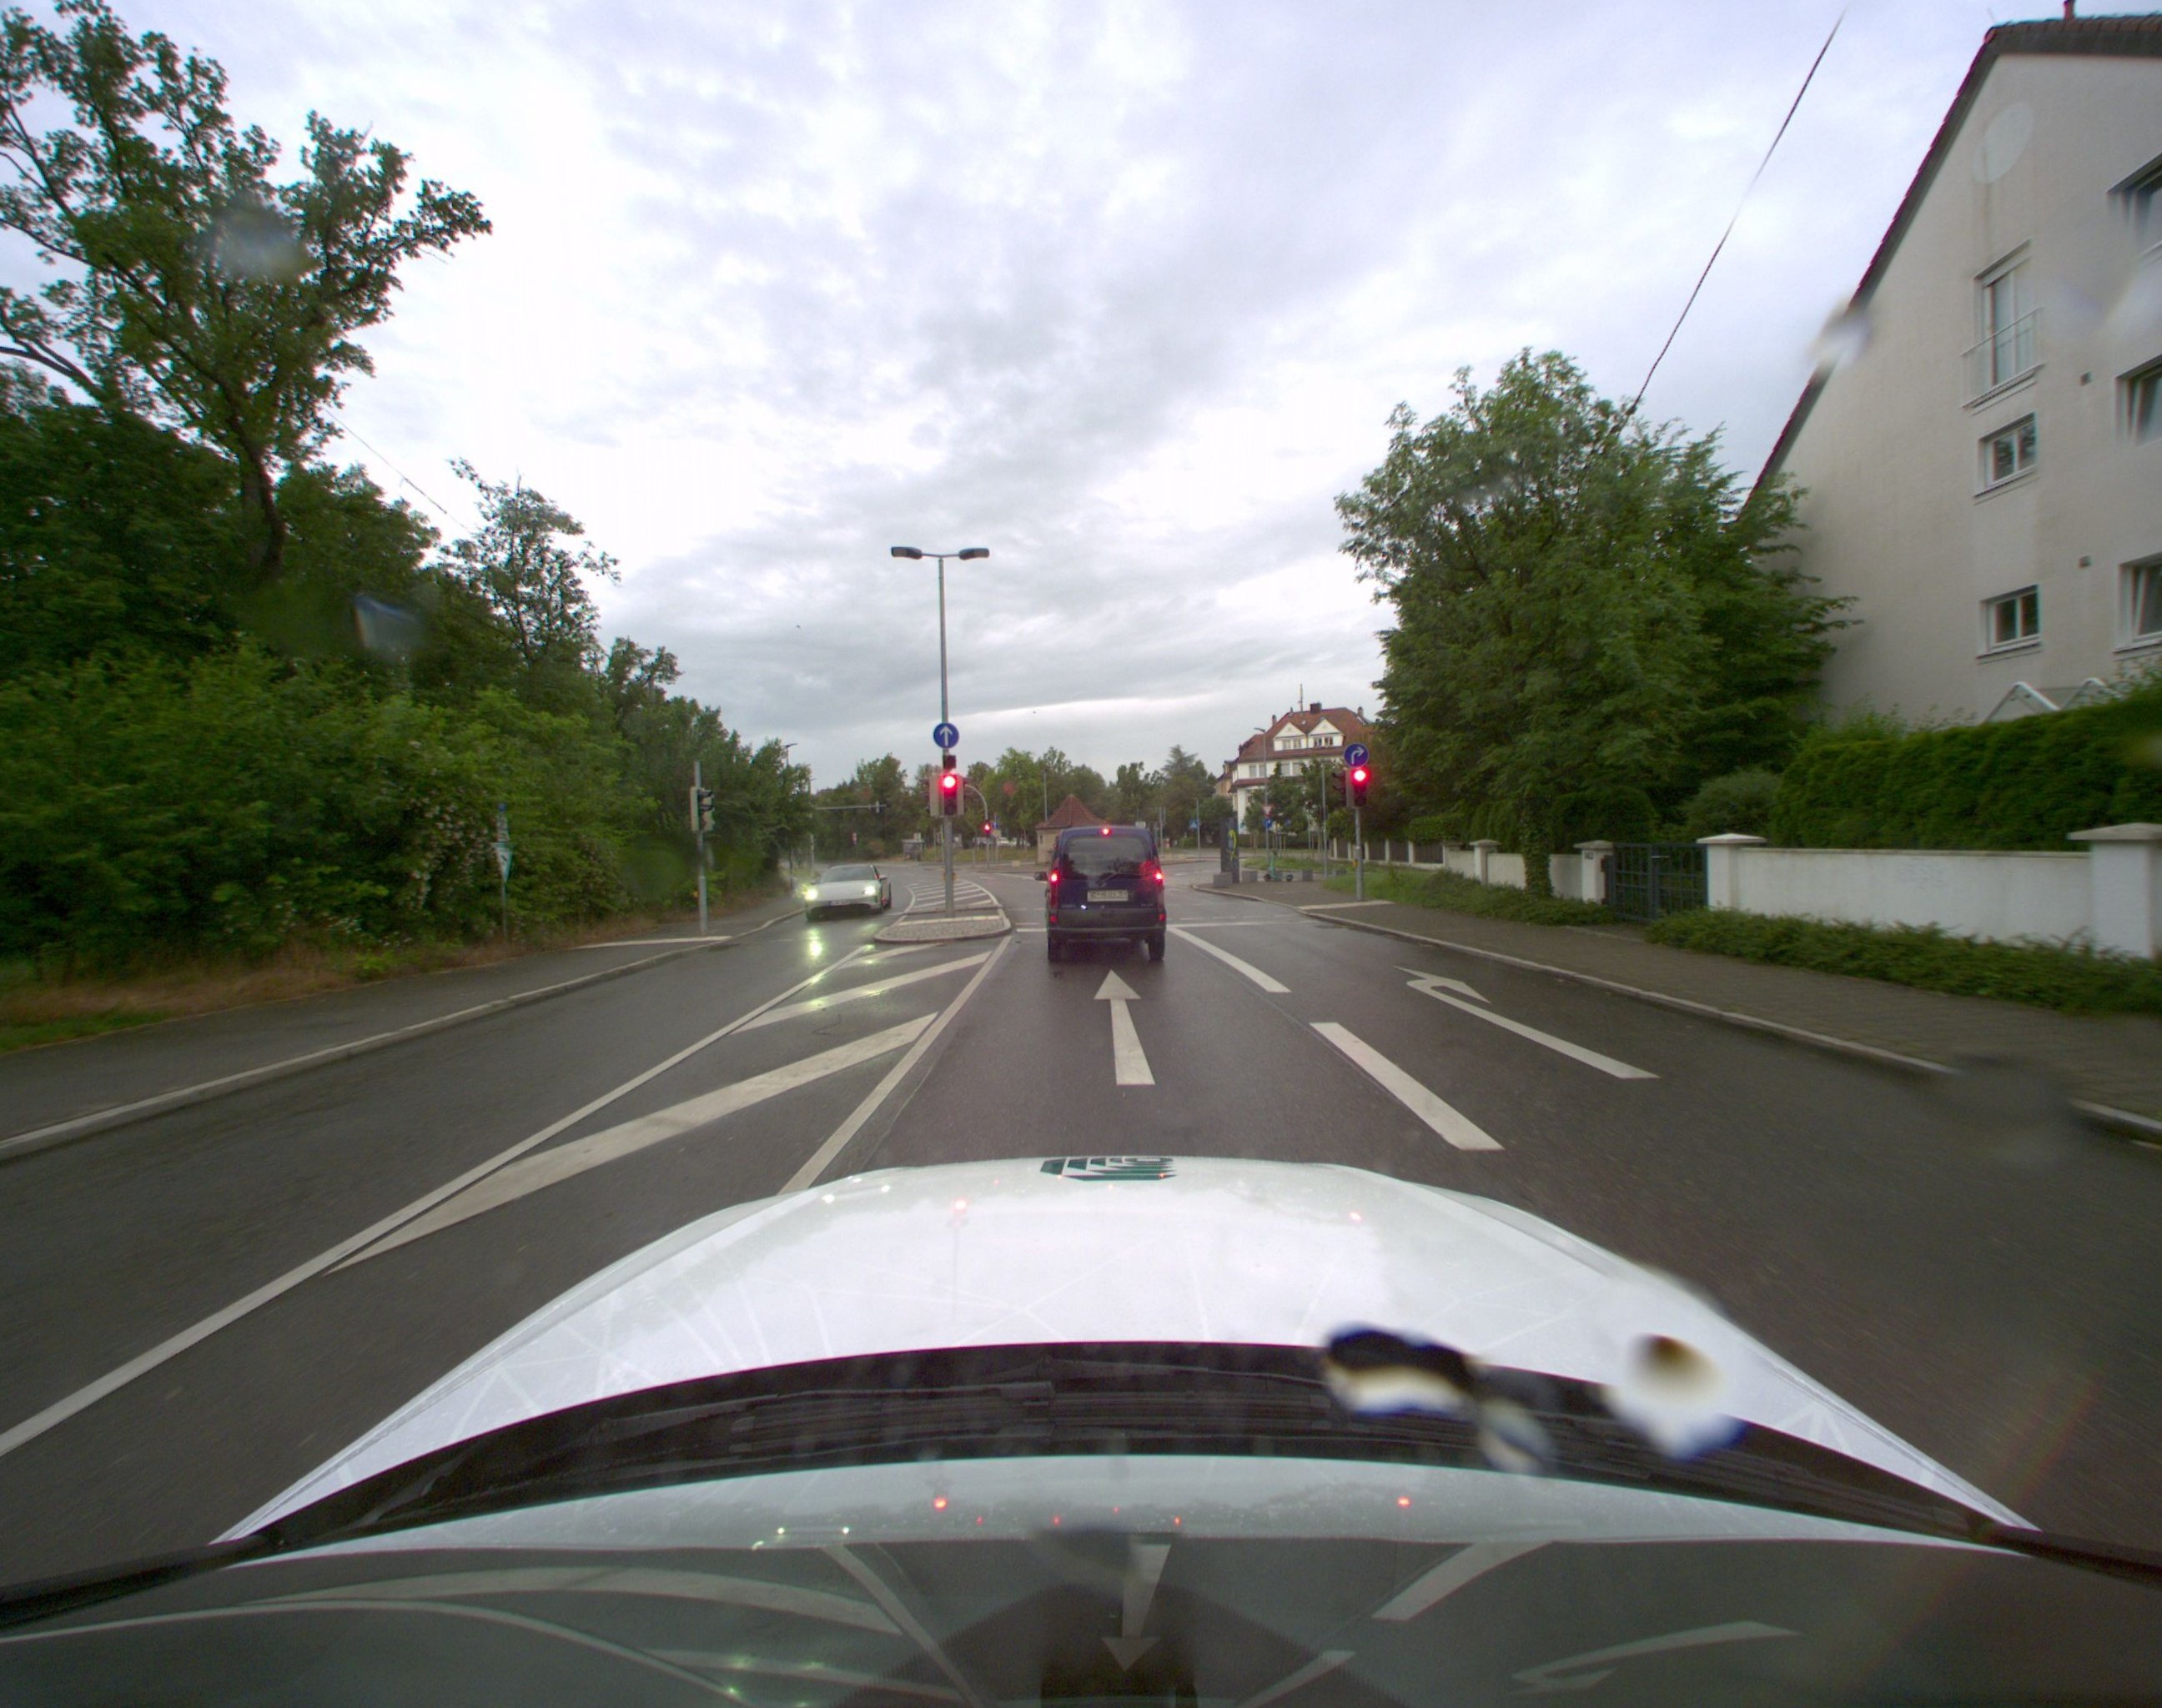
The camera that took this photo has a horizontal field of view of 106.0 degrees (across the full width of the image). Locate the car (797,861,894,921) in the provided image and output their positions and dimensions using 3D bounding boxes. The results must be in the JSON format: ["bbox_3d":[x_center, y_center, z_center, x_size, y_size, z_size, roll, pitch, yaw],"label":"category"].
[{"bbox_3d":[-6.488,0.952,22.896,1.993,1.311,4.346,-4,1,-9],"label":"car"}]

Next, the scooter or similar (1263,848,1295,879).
[{"bbox_3d":[7.829,0.378,32.209,1.145,1.219,0.406,-2,-1,0],"label":"scooter or similar"}]

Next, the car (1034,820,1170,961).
[{"bbox_3d":[0.253,0.448,12.521,1.726,1.786,3.999,-1,1,-1],"label":"car"}]

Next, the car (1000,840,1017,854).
[{"bbox_3d":[-10.125,-0.942,114.222,1.988,1.812,3.998,-1,-1,-1],"label":"car"}]
